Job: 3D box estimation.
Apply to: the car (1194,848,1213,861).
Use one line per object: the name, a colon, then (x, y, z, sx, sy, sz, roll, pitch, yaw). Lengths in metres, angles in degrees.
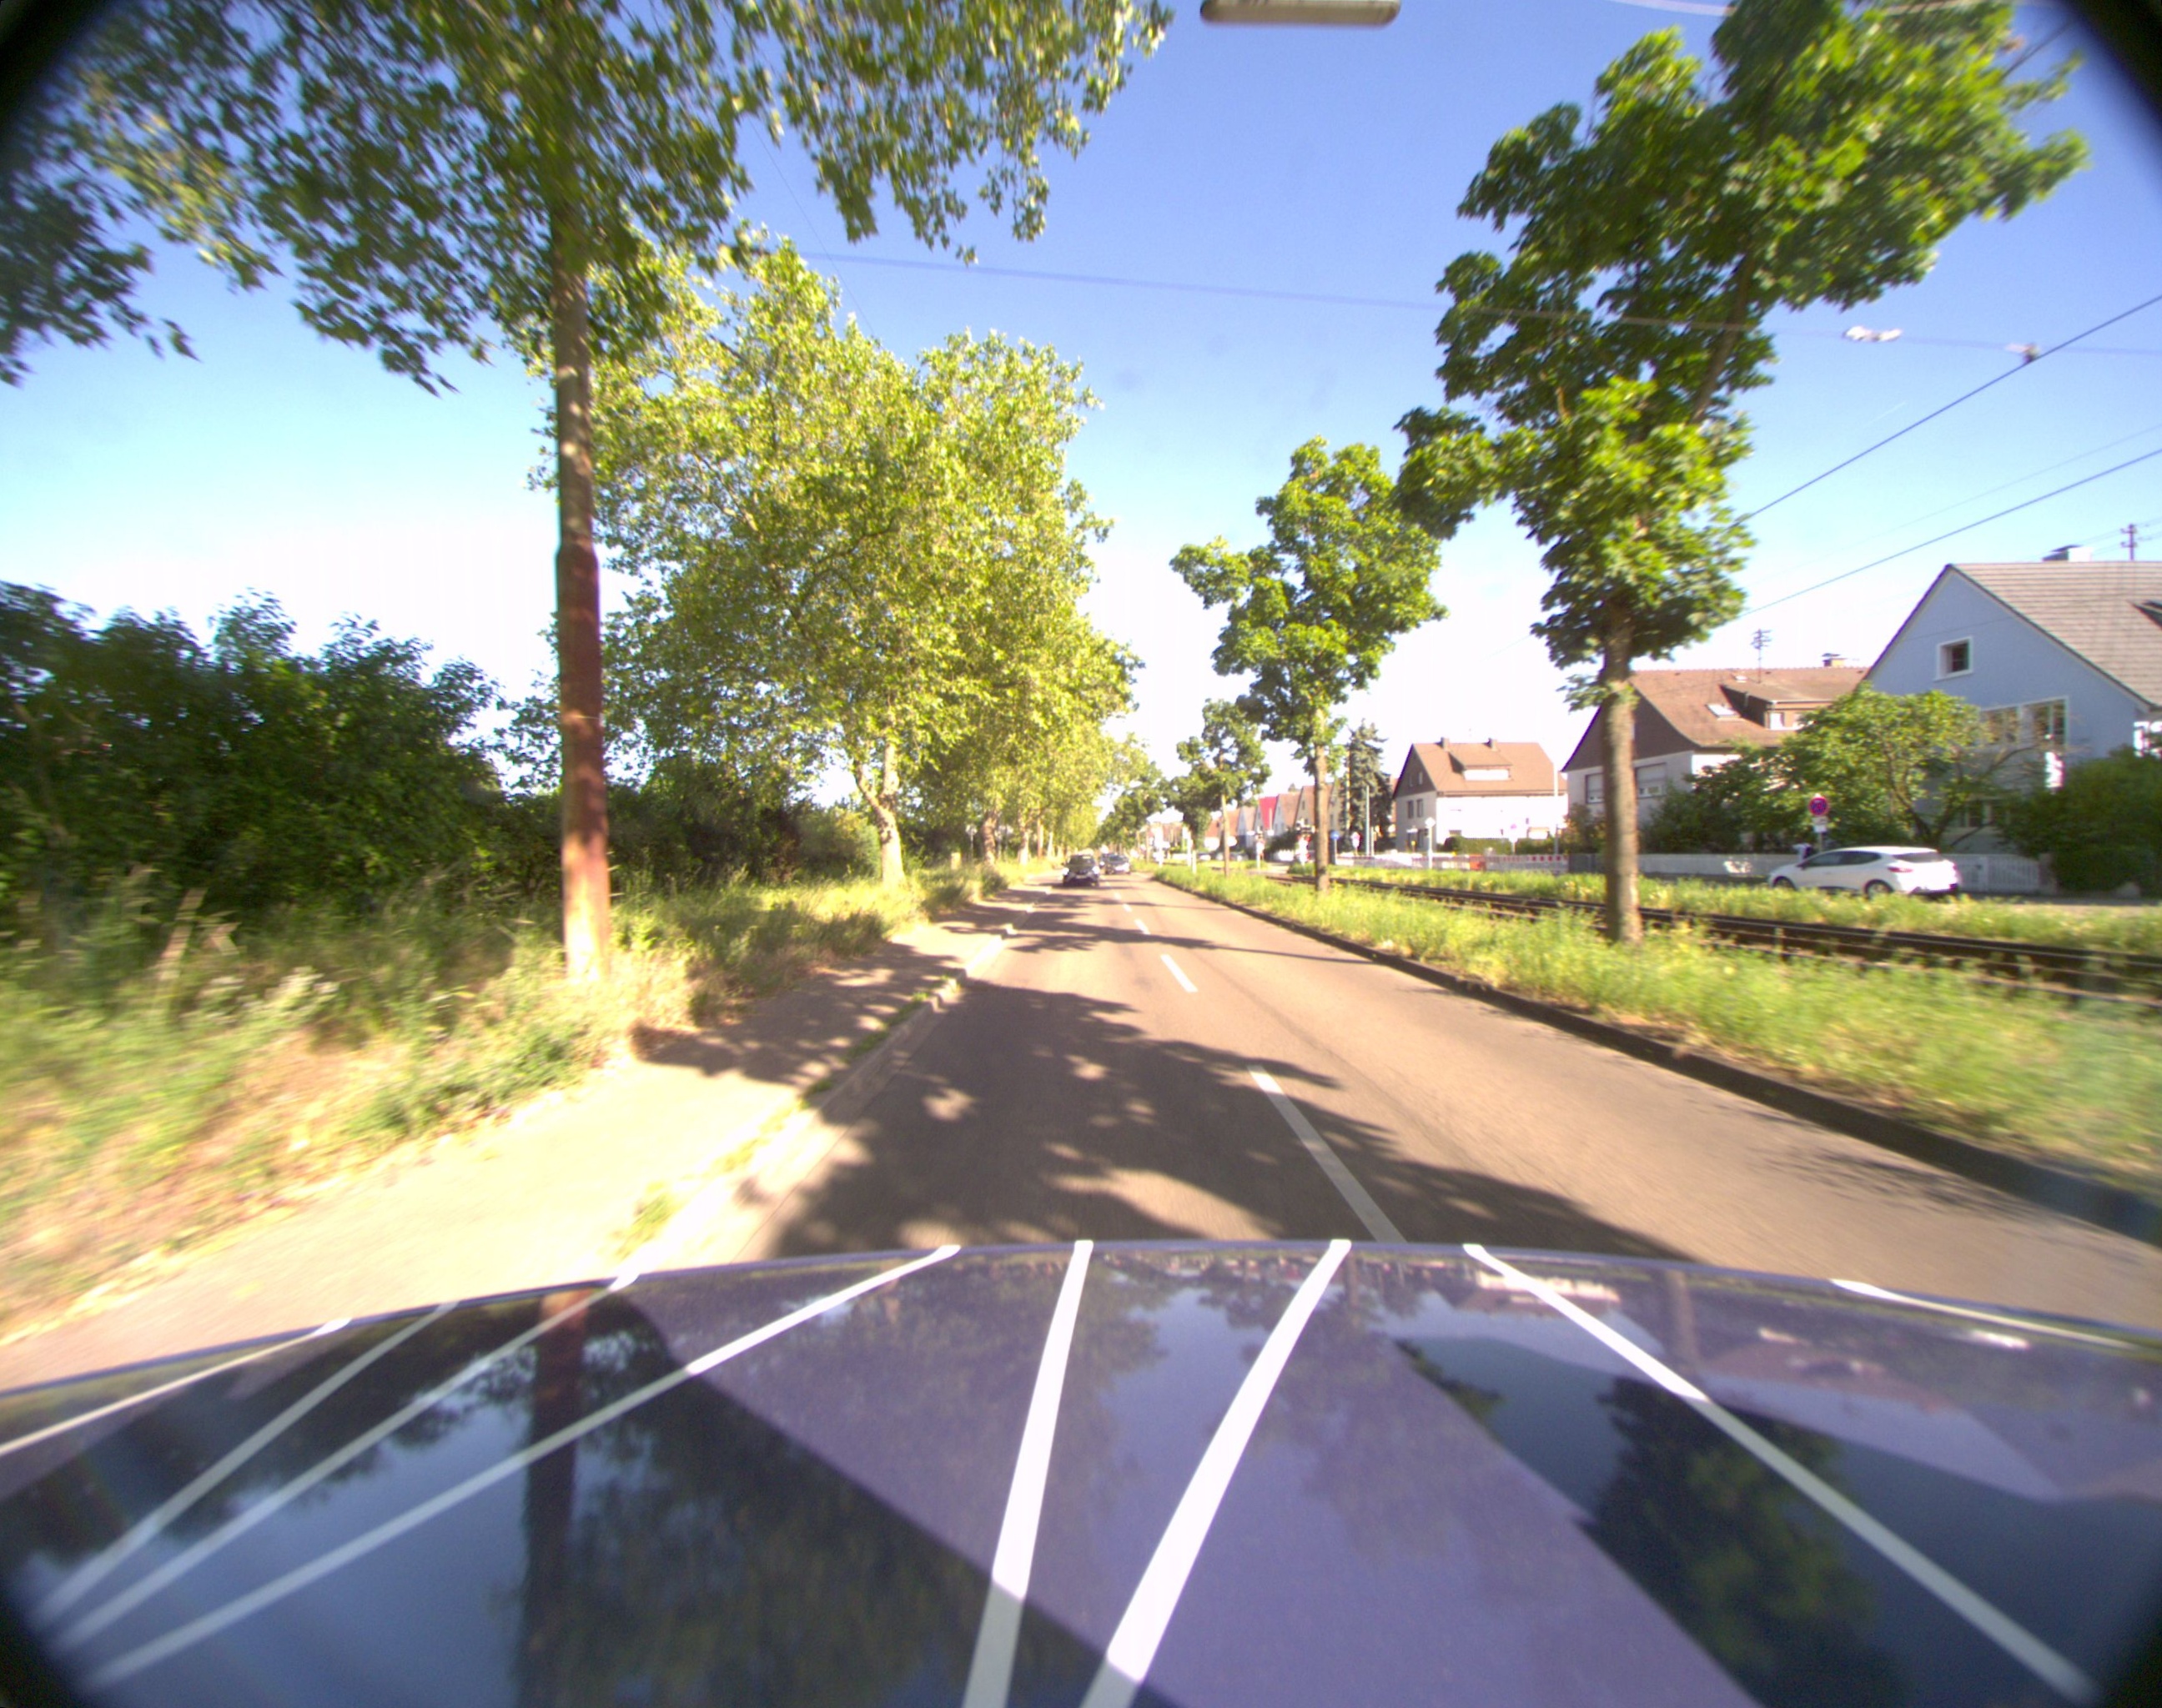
car: (17.348, 0.058, 107.681, 1.998, 1.594, 4.472, -2, 1, 0)

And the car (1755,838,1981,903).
car: (21.445, 0.383, 20.998, 1.864, 1.533, 4.227, -2, 1, 0)

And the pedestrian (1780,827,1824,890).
pedestrian: (23.507, 0.155, 24.779, 0.682, 2.002, 0.772, -2, 1, 0)

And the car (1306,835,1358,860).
car: (27.691, -0.720, 83.836, 5.041, 2.610, 2.102, -1, 0, 0)

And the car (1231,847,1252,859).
car: (22.160, -0.133, 104.987, 1.951, 1.544, 4.056, -2, 1, 0)

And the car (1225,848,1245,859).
car: (22.258, -0.099, 109.673, 1.998, 1.441, 4.127, -4, 1, 0)

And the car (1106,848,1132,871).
car: (2.736, 0.360, 54.977, 1.692, 1.499, 3.582, -2, 1, 1)

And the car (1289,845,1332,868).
car: (16.874, 0.149, 55.997, 1.665, 1.543, 4.809, -2, 1, 0)

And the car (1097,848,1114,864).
car: (2.501, 0.171, 77.952, 1.692, 1.499, 3.582, -2, 1, 1)

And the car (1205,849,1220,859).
car: (22.937, -0.006, 132.539, 1.931, 1.486, 4.255, -2, 1, 0)

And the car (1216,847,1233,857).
car: (22.365, -0.270, 118.752, 1.998, 1.418, 4.410, -2, 1, 2)

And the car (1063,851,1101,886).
car: (0.068, 0.680, 38.063, 1.692, 1.499, 3.582, -4, 1, 1)
